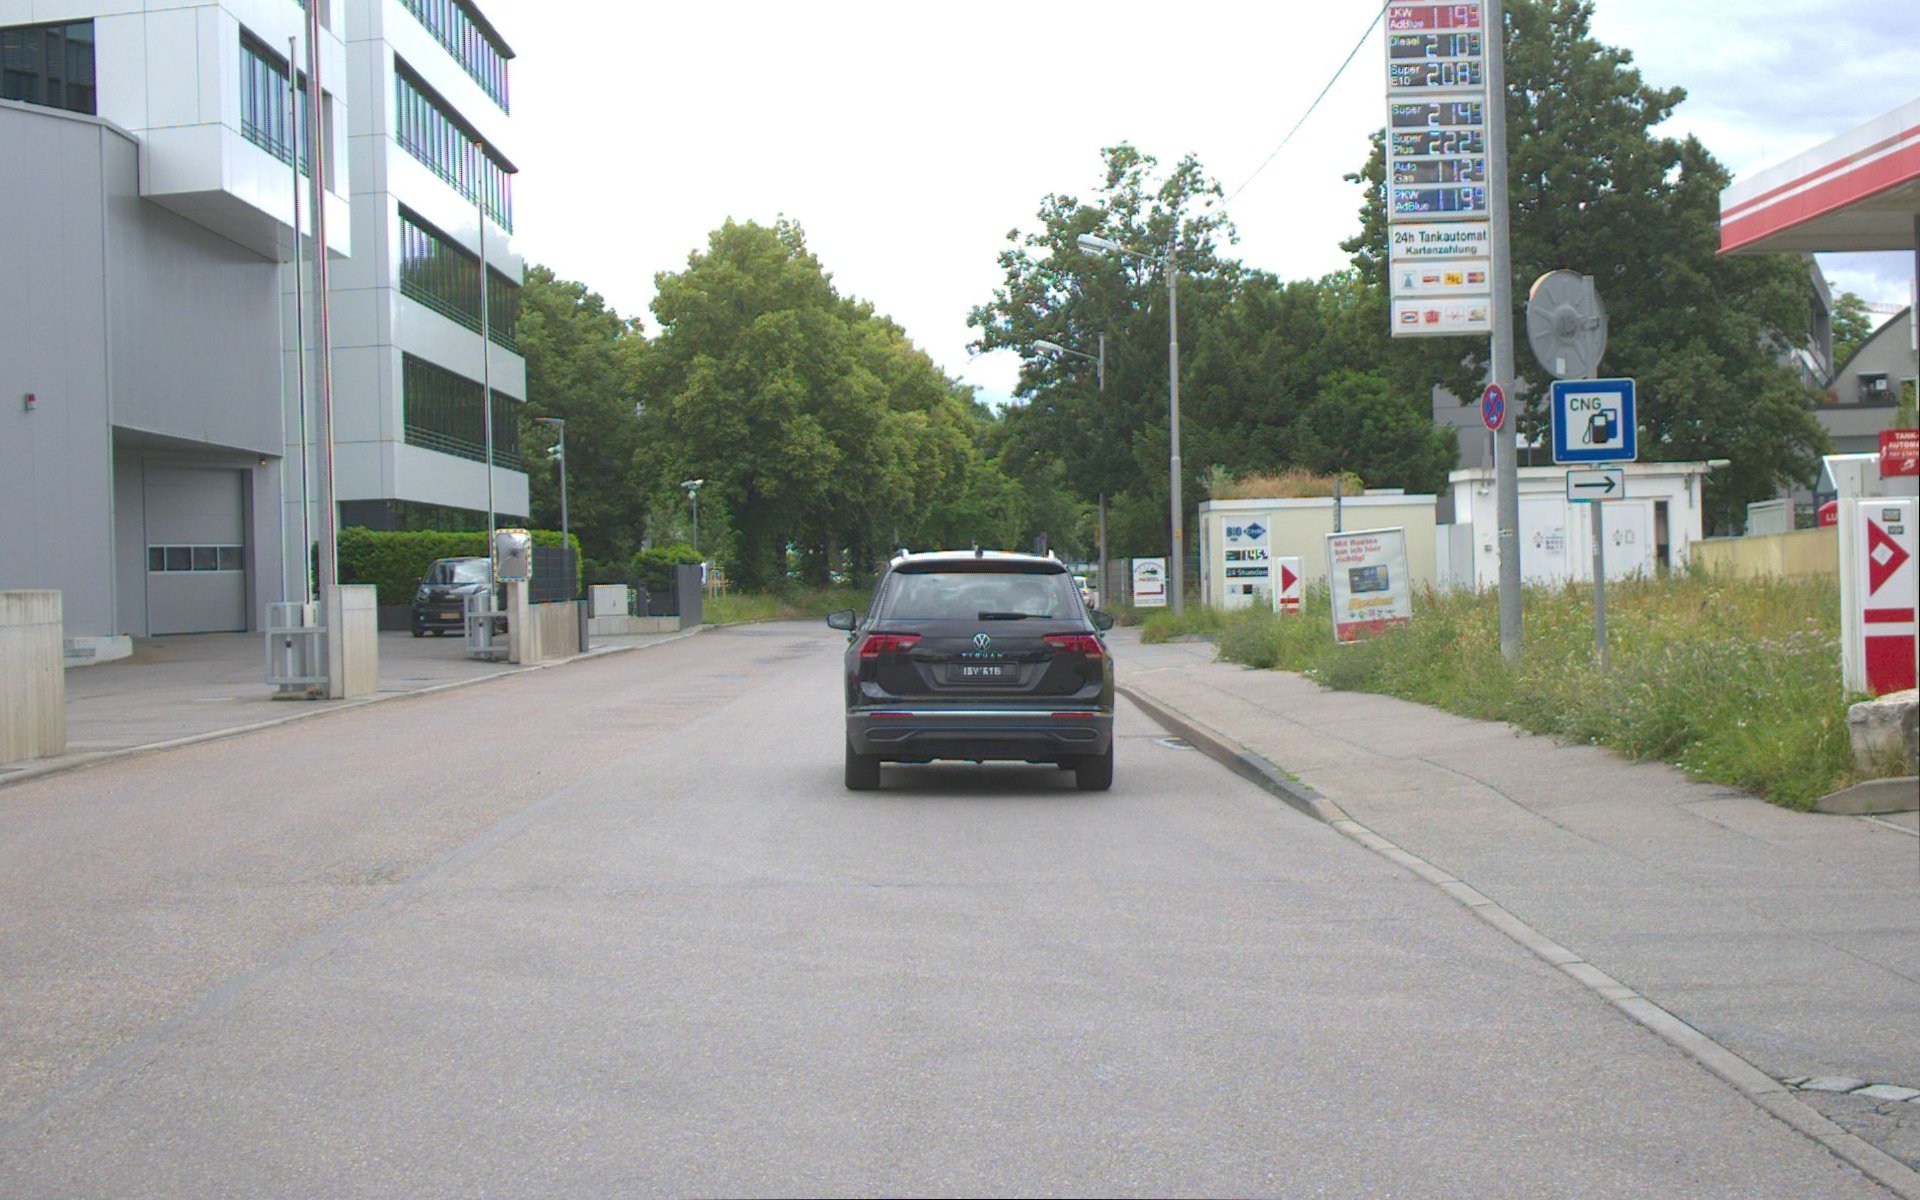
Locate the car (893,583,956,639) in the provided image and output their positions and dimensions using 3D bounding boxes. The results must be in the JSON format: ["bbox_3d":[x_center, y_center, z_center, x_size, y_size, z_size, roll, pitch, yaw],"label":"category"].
[{"bbox_3d":[-1.083,0.313,104.645,1.839,1.611,4.000,-1,0,0],"label":"car"}]

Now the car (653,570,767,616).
[{"bbox_3d":[-14.077,-0.404,193.853,6.071,2.379,2.394,-2,1,2],"label":"car"}]

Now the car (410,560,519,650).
[{"bbox_3d":[-9.842,0.093,68.422,1.650,1.756,3.179,0,0,1],"label":"car"}]

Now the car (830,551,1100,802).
[{"bbox_3d":[0.091,0.485,24.026,1.739,1.612,3.641,0,0,2],"label":"car"}]

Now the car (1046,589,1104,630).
[{"bbox_3d":[5.120,0.398,152.810,1.994,1.780,3.998,-1,0,11],"label":"car"}]
